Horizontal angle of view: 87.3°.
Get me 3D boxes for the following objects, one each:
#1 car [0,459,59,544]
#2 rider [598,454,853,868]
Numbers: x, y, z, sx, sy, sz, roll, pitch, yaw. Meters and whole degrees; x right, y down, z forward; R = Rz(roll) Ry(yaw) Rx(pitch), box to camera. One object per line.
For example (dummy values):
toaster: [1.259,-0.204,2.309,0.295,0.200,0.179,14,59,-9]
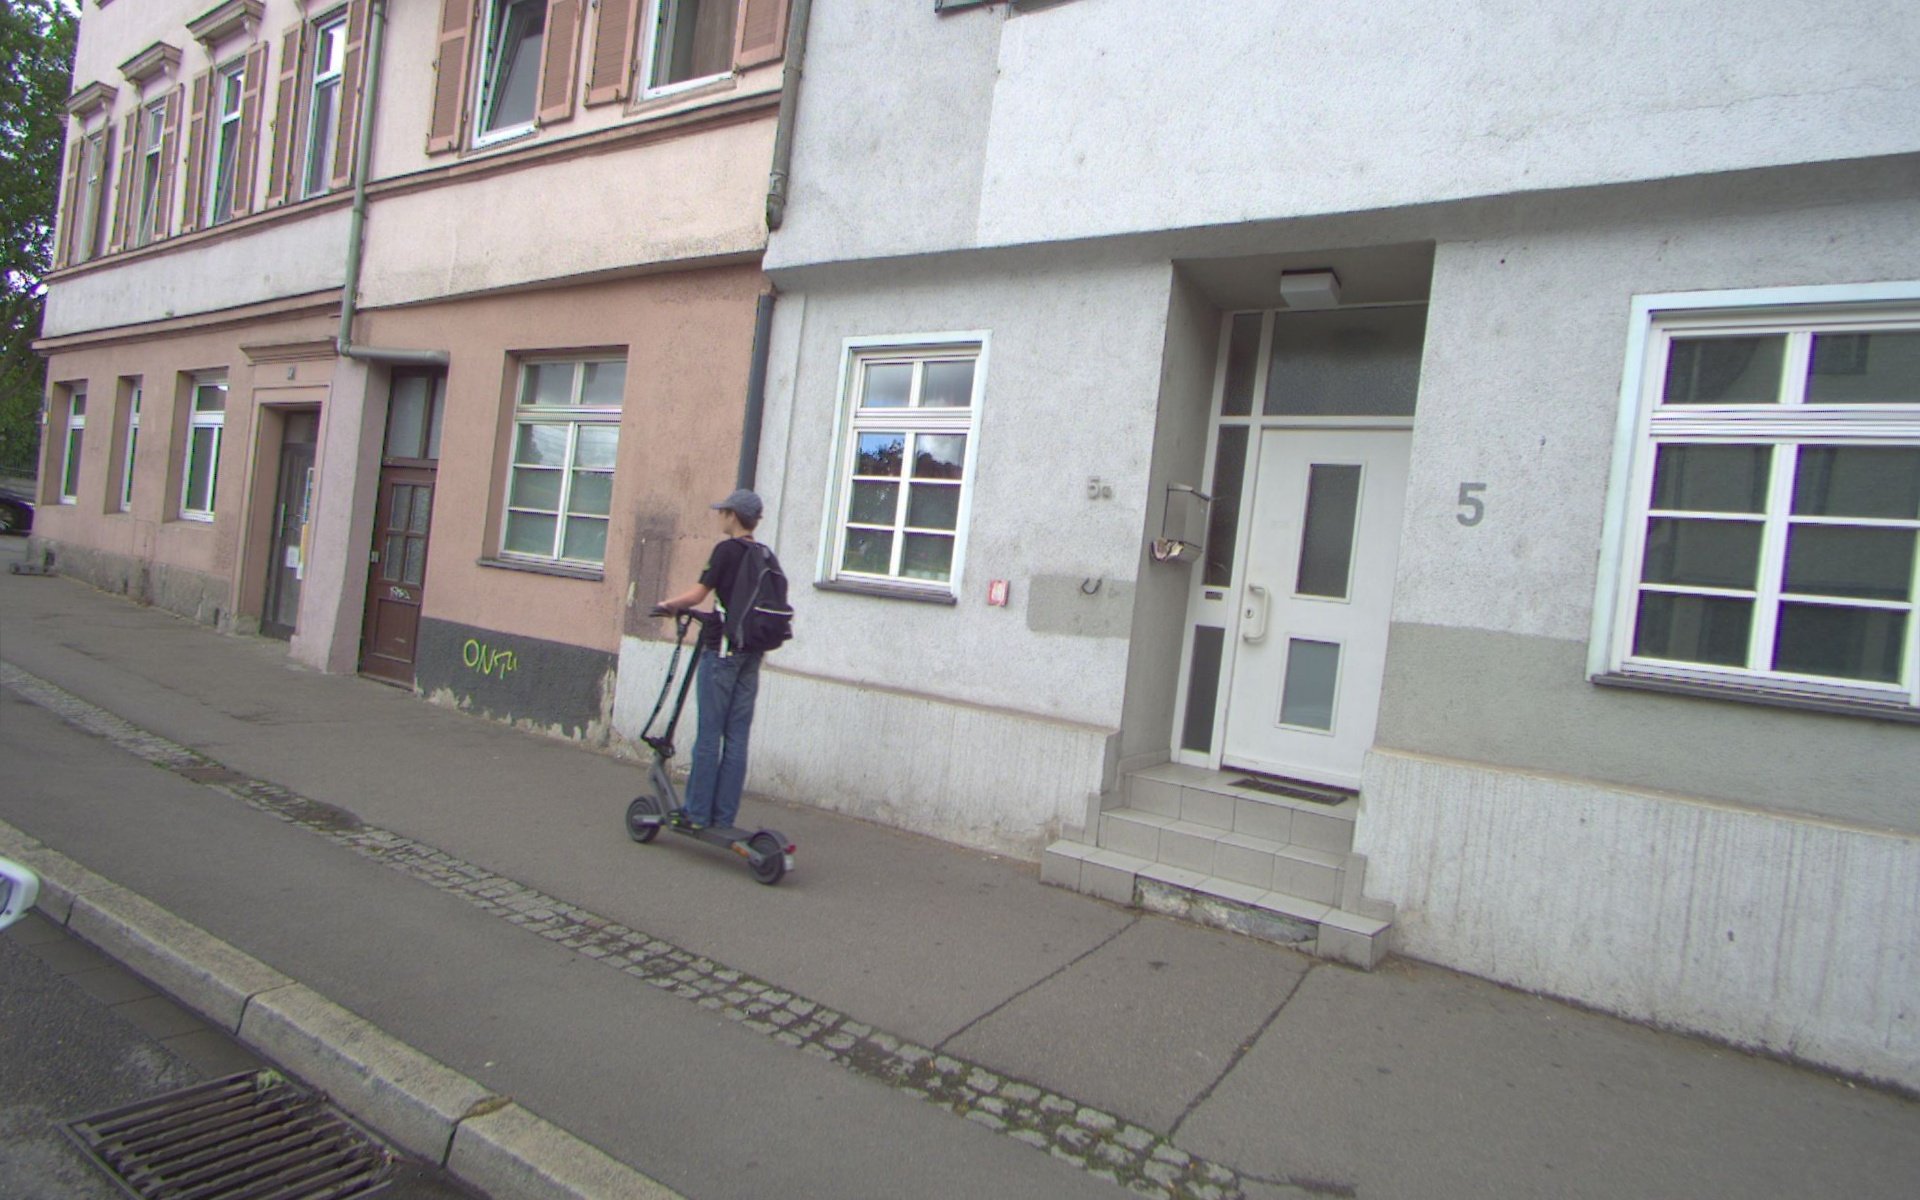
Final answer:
car: [-21.040,-2.299,19.972,1.840,1.593,4.278,9,0,33]
rider: [-1.170,0.277,5.074,0.784,1.870,0.718,7,1,32]
